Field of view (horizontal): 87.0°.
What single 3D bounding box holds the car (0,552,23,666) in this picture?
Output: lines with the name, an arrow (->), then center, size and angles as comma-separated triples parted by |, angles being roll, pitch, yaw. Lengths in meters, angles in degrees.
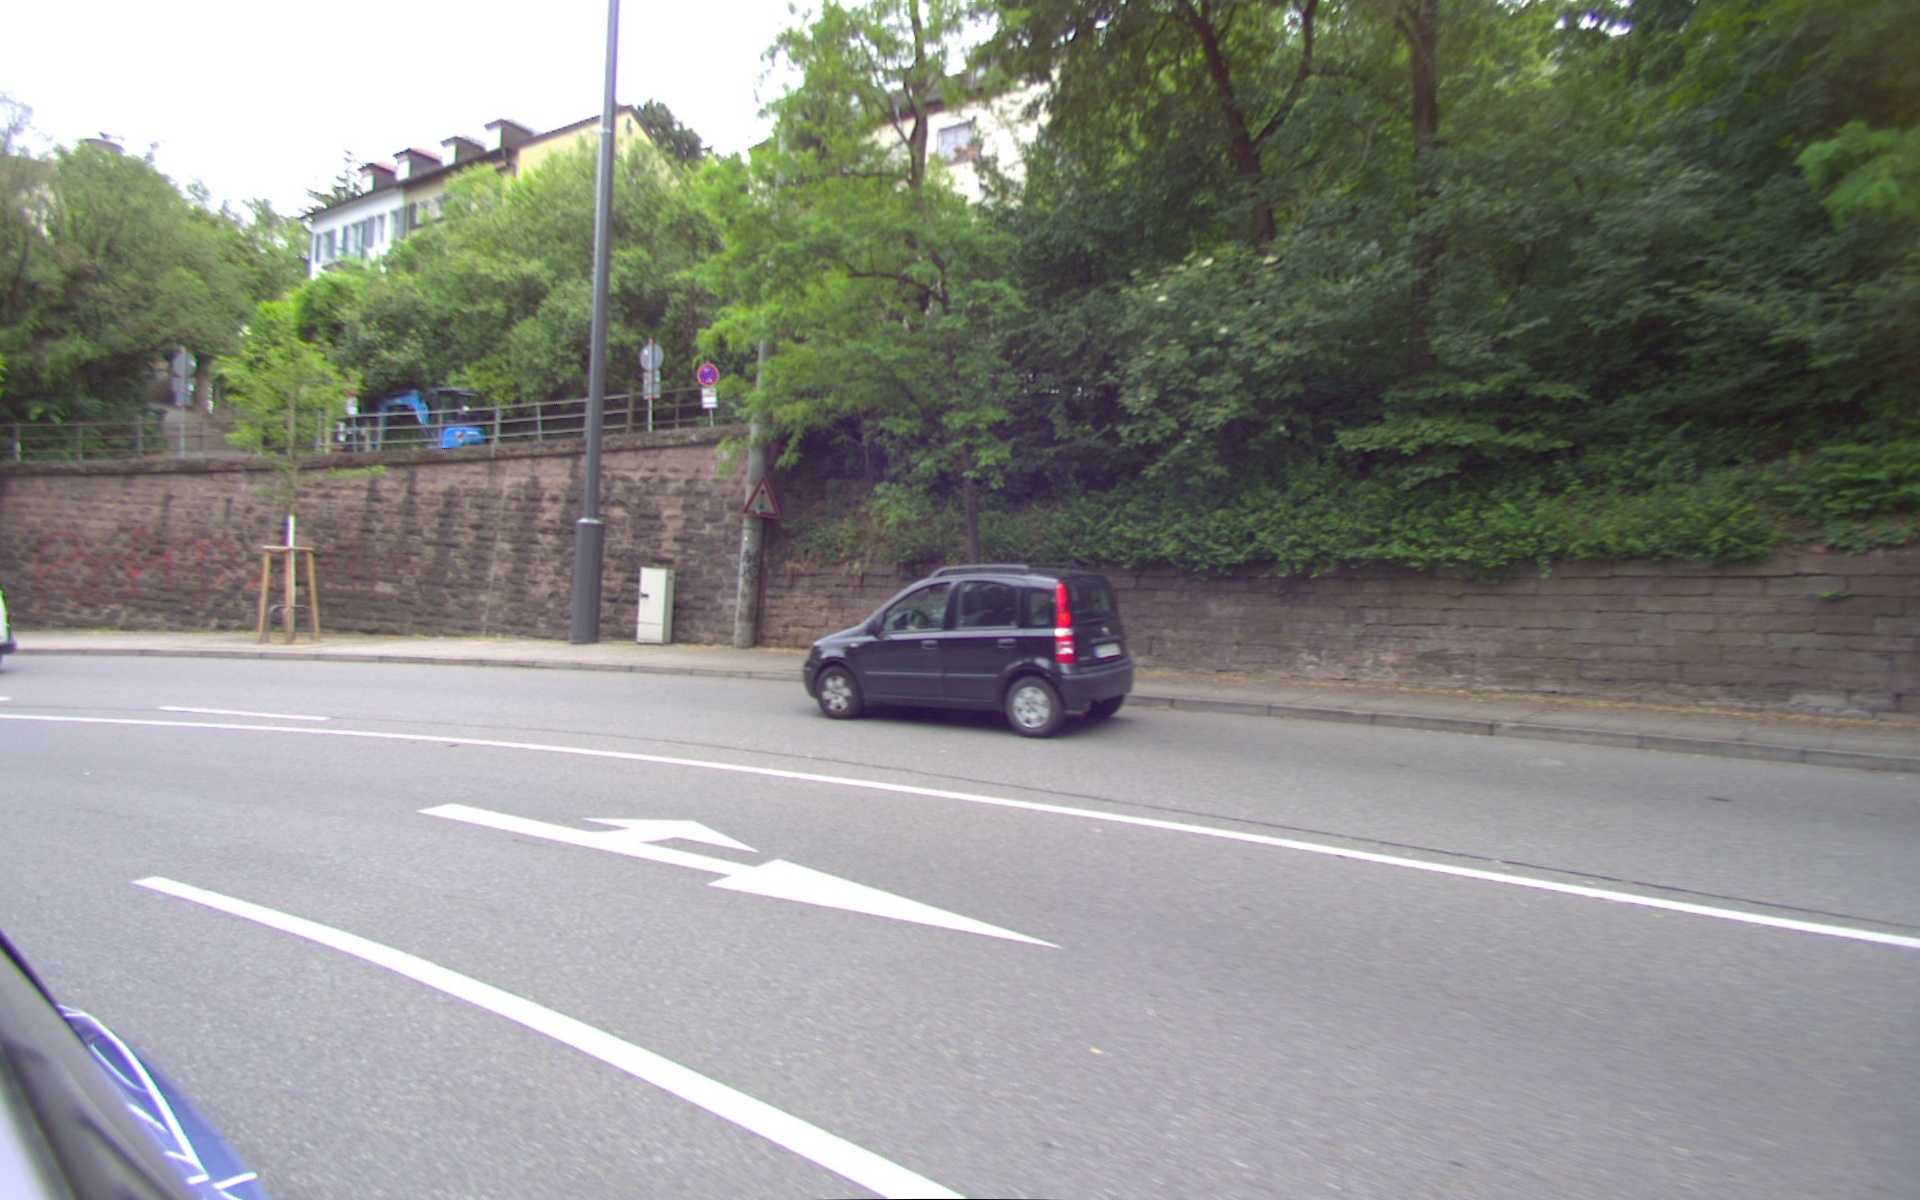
car -> -17.440, 0.231, 15.594 | 4.615, 1.776, 1.824 | -1, 5, 8

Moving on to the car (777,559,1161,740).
car -> 0.019, 0.398, 10.206 | 3.650, 1.536, 1.493 | 0, 1, 34

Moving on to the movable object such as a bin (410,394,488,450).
movable object such as a bin -> -14.730, -5.112, 29.211 | 1.587, 1.366, 1.249 | -1, 2, 9
